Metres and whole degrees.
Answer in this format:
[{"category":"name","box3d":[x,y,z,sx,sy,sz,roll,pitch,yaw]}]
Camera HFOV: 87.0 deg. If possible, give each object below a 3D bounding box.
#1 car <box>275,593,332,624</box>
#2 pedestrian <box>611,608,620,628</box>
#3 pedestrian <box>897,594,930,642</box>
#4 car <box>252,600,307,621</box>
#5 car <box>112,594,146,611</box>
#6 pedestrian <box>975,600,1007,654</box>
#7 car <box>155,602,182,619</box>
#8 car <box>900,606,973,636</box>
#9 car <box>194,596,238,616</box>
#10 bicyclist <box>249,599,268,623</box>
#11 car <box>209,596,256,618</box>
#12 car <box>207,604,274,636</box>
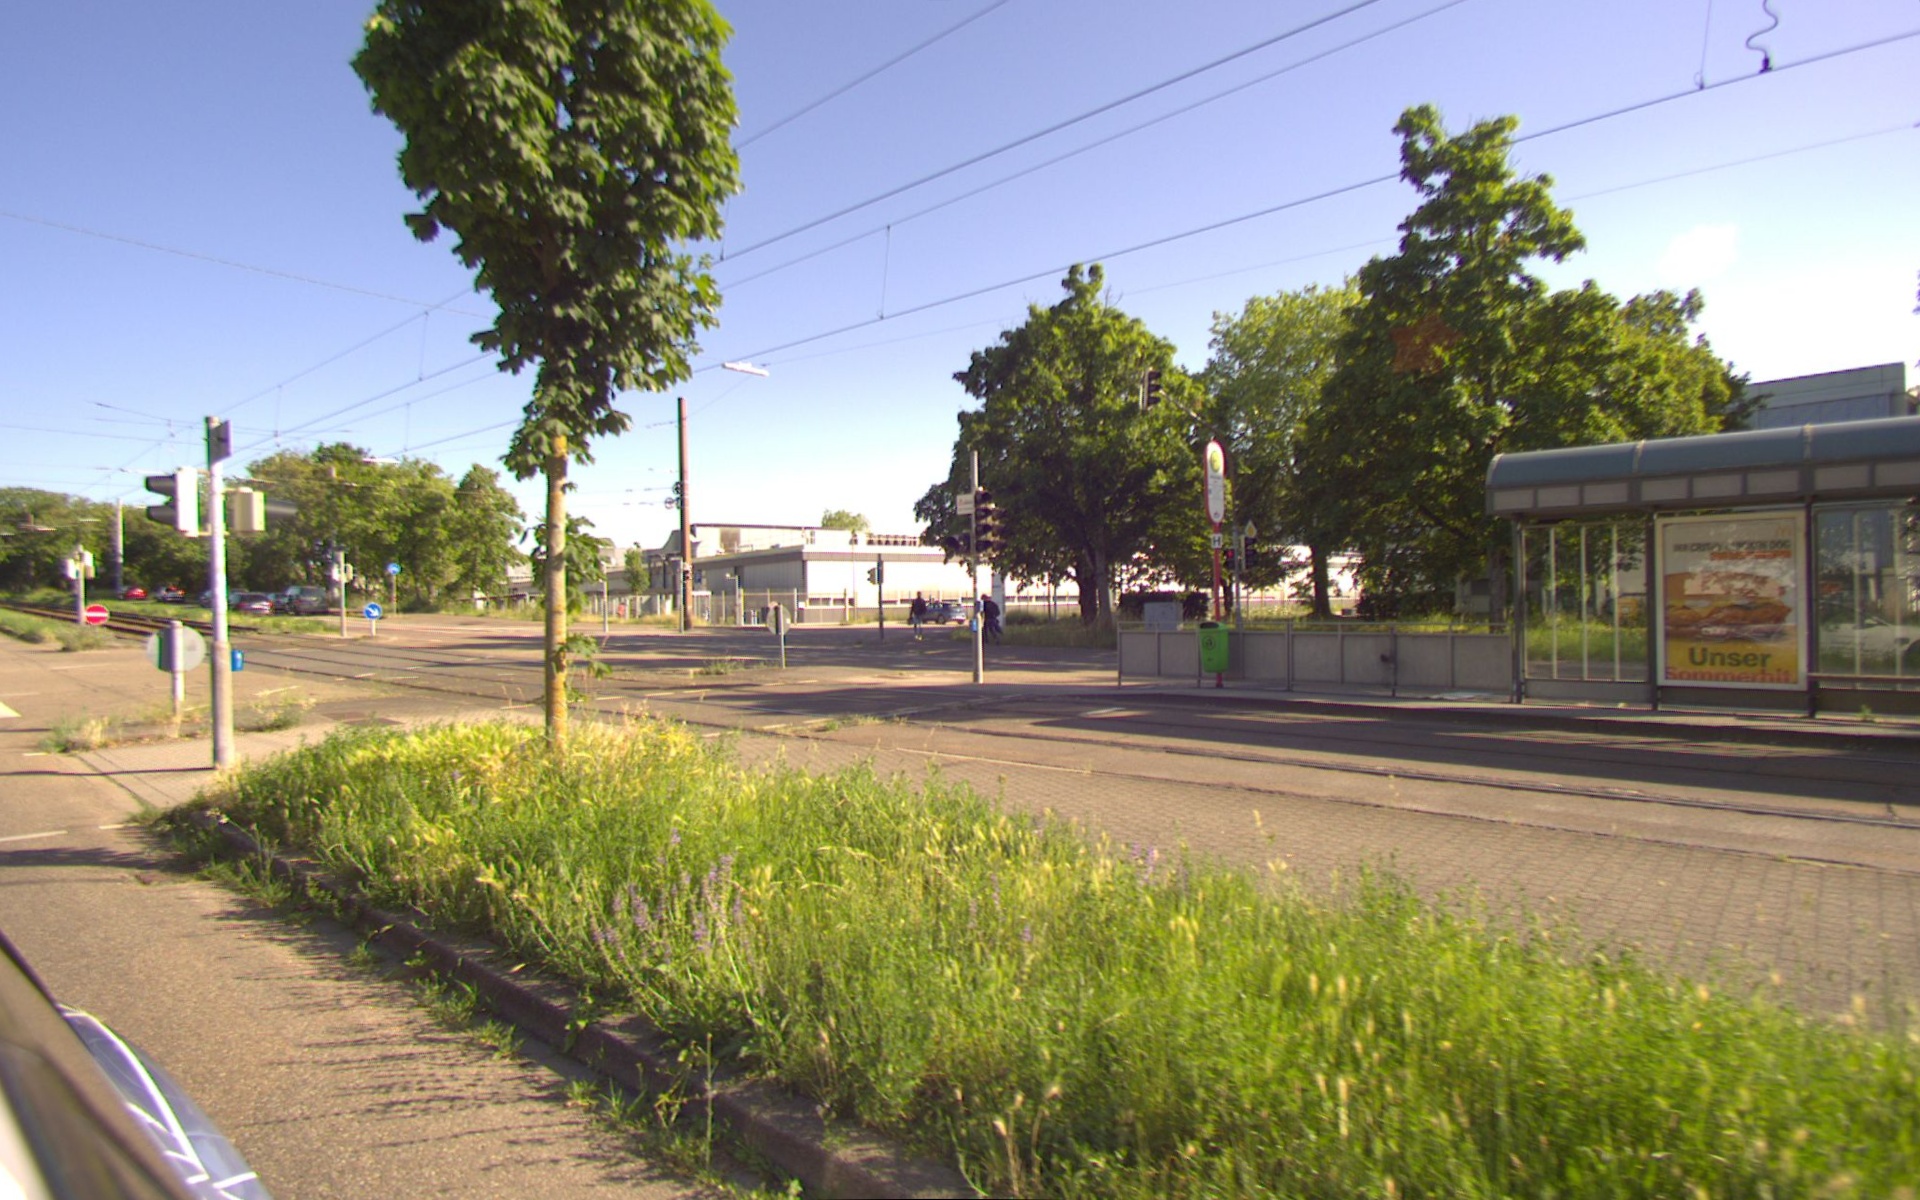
[{"category":"car","box3d":[-43.784,0.561,67.459,4.686,1.948,2.177,0,1,44]},{"category":"pedestrian","box3d":[-22.929,1.195,67.377,0.435,1.310,0.441,-1,0,1]},{"category":"pedestrian","box3d":[-1.791,0.698,38.884,0.937,1.801,0.823,0,0,-33]},{"category":"car","box3d":[-48.615,0.729,72.273,4.614,1.391,2.103,0,1,41]},{"category":"car","box3d":[-87.922,0.266,107.112,4.799,1.746,2.289,0,1,45]},{"category":"pedestrian","box3d":[1.029,0.885,33.773,0.748,1.747,0.940,-1,0,-19]},{"category":"car","box3d":[-74.887,0.969,95.722,1.832,1.569,4.164,-1,1,-40]},{"category":"car","box3d":[-1.607,1.344,66.606,2.137,1.762,5.305,-1,1,-36]},{"category":"car","box3d":[-62.300,0.501,84.682,4.559,1.575,2.102,0,1,42]},{"category":"bicyclist","box3d":[-48.336,0.754,69.730,1.237,1.605,0.793,0,1,44]},{"category":"car","box3d":[-57.588,0.532,80.075,4.616,1.599,2.102,0,1,43]},{"category":"car","box3d":[-42.138,1.192,59.249,4.790,1.824,2.072,-1,-2,41]}]
